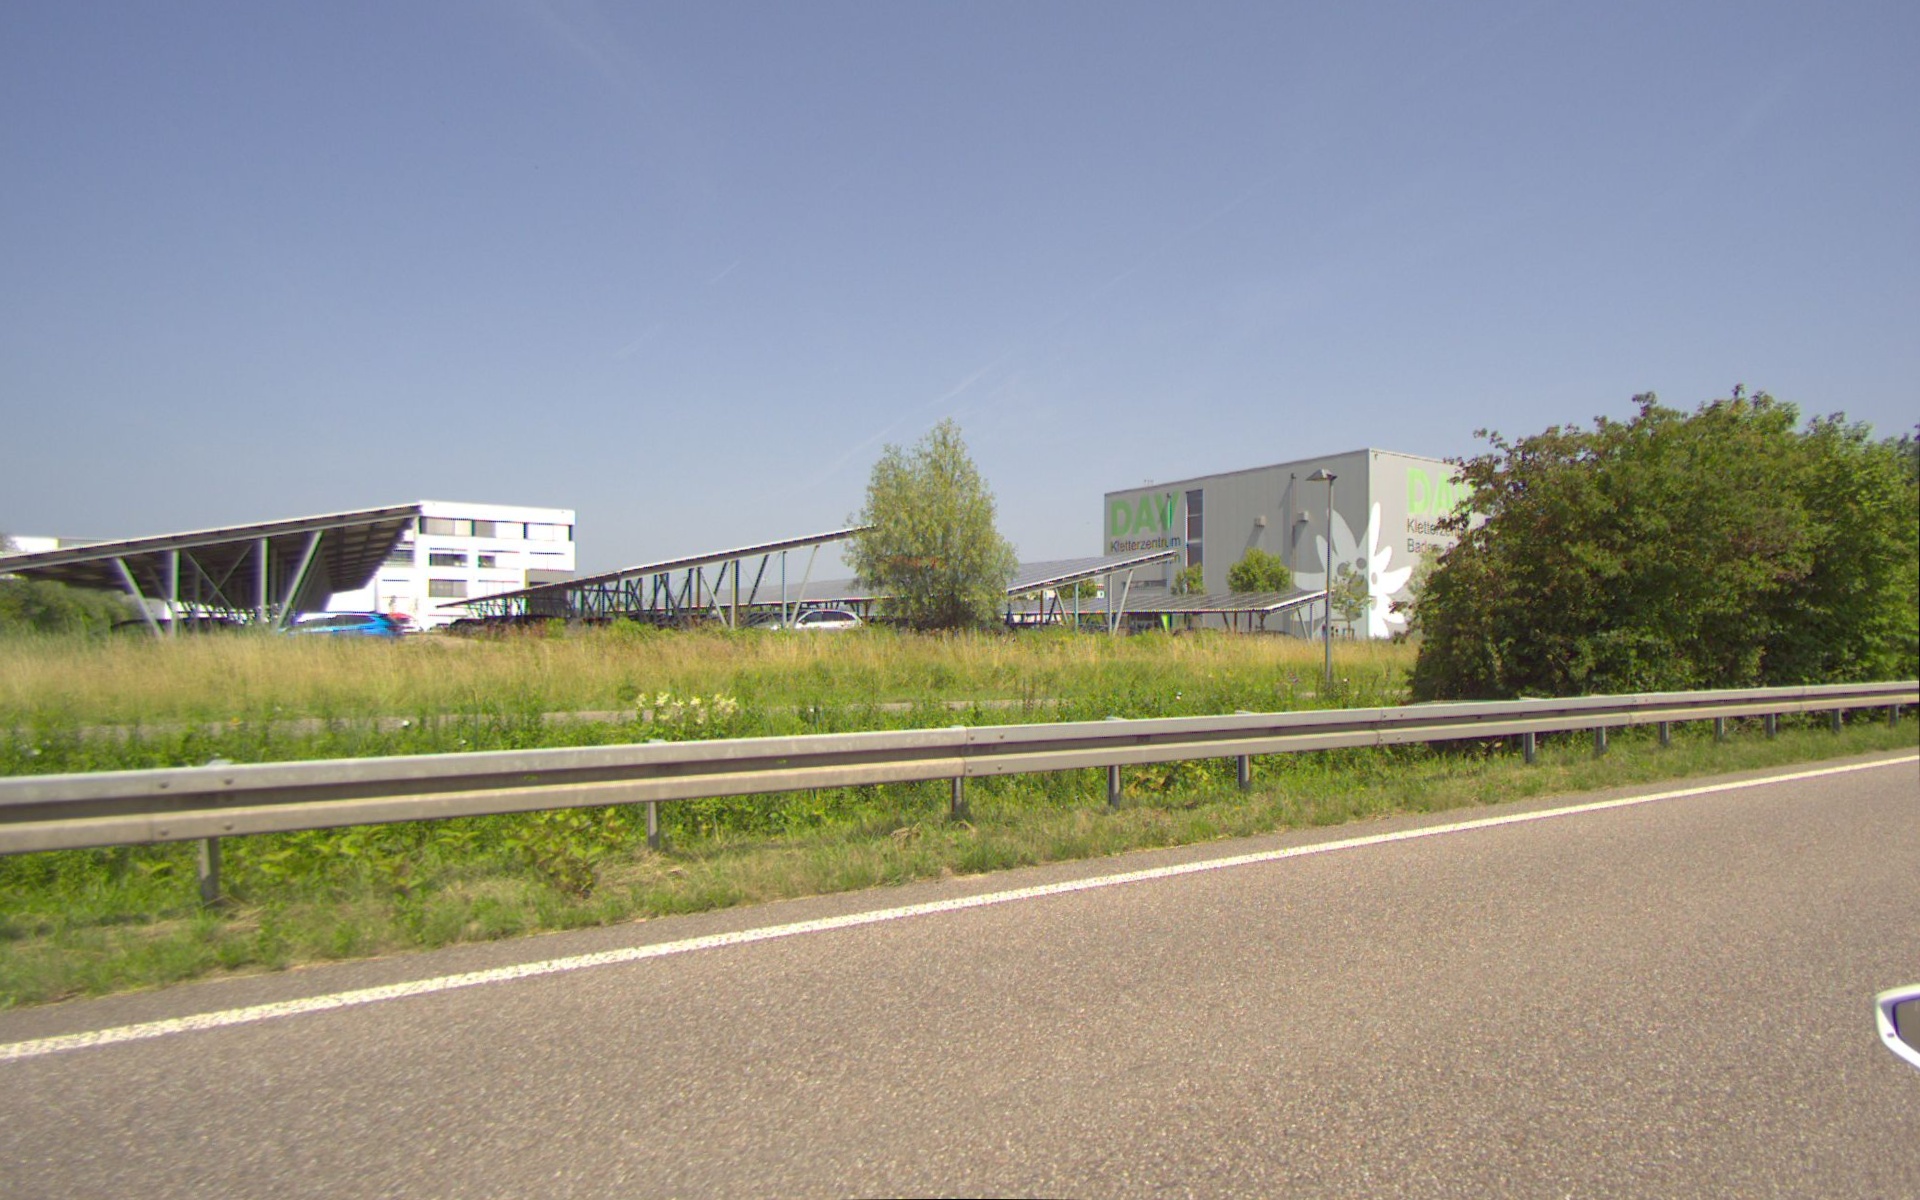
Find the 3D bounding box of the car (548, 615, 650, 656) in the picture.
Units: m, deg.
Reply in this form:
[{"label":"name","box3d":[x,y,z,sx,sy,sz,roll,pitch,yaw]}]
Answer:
[{"label":"car","box3d":[-17.014,1.666,47.356,4.212,1.828,1.984,1,0,-30]}]

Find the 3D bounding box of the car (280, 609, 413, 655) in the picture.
[{"label":"car","box3d":[-18.570,0.966,30.484,3.328,1.308,1.610,1,-1,-33]}]

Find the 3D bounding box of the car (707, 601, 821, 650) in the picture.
[{"label":"car","box3d":[-8.486,1.106,43.515,4.463,2.040,1.984,1,-1,-30]}]

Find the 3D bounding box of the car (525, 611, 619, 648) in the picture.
[{"label":"car","box3d":[-19.928,1.515,51.596,4.212,1.828,1.984,1,0,-30]}]

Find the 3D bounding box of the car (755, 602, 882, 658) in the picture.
[{"label":"car","box3d":[-5.484,1.173,38.963,4.463,2.040,1.984,1,-1,-30]}]
